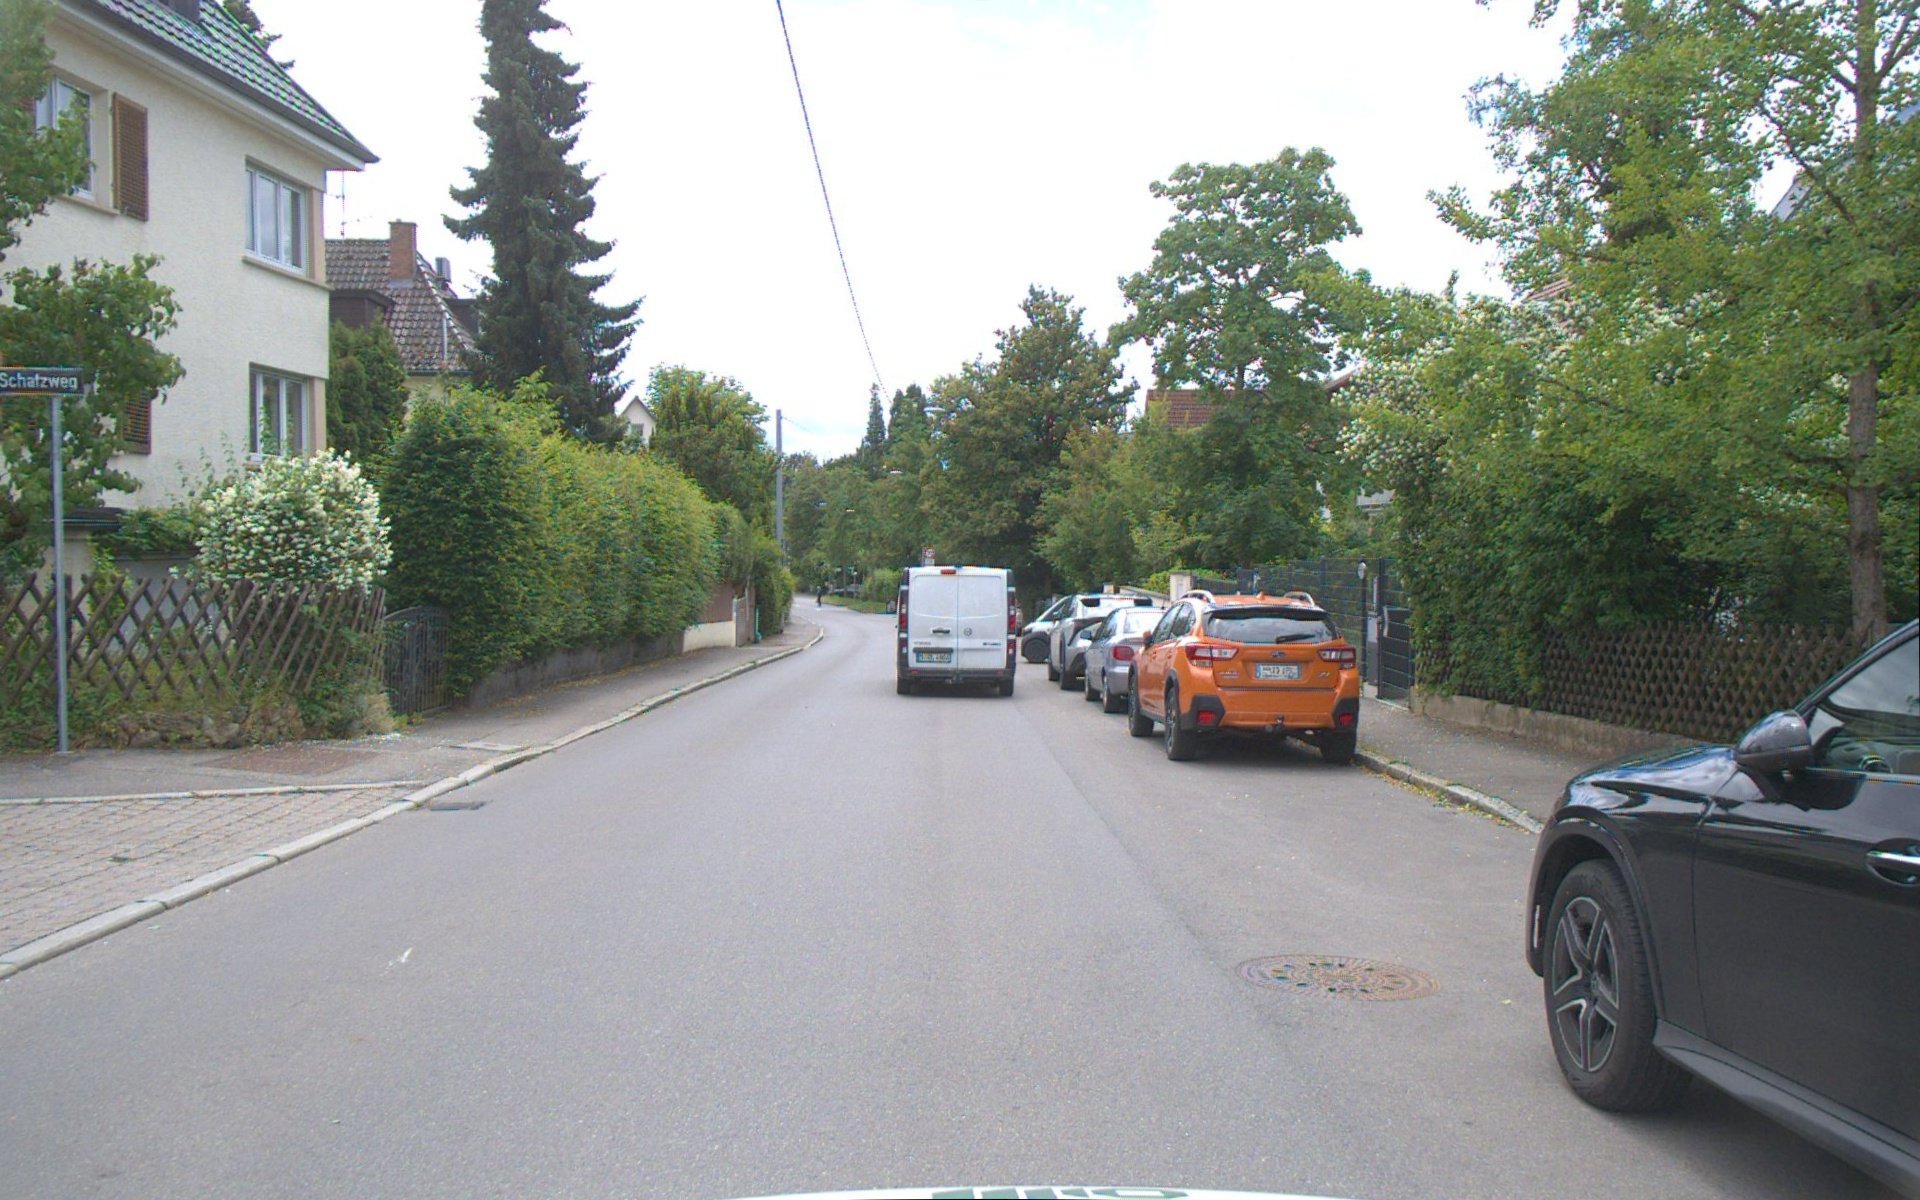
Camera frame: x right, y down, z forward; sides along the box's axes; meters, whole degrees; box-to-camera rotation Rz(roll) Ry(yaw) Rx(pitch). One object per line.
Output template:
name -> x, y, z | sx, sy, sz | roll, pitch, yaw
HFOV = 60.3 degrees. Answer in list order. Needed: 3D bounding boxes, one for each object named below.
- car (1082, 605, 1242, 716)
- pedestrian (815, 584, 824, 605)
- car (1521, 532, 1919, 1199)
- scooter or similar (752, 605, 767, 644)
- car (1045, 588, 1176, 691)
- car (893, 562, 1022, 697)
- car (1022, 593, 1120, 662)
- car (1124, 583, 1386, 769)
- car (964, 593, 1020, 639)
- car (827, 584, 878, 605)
car -> 2.769, 0.790, 23.519 | 1.681, 1.406, 4.235 | 1, 0, -1
pedestrian -> -10.912, -0.420, 128.544 | 0.684, 1.644, 0.714 | 0, 2, -8
car -> 2.986, 0.707, 3.477 | 1.911, 1.655, 4.373 | 1, 0, -3
scooter or similar -> -6.312, 0.768, 52.101 | 0.384, 1.191, 1.269 | 0, 0, -2
car -> 2.550, 0.636, 29.003 | 1.792, 1.652, 4.491 | 1, 0, -1
car -> -0.128, 0.410, 26.860 | 1.891, 1.998, 4.400 | 1, 1, -3
car -> 2.571, 0.619, 38.333 | 2.239, 1.550, 1.318 | 0, 1, 3
car -> 2.900, 0.697, 17.180 | 1.813, 1.655, 4.168 | 1, 0, -2
car -> 1.194, 0.610, 64.175 | 1.828, 1.714, 4.347 | 1, 0, -3
car -> -10.008, -0.552, 153.945 | 4.323, 1.892, 1.893 | 0, 1, -19
